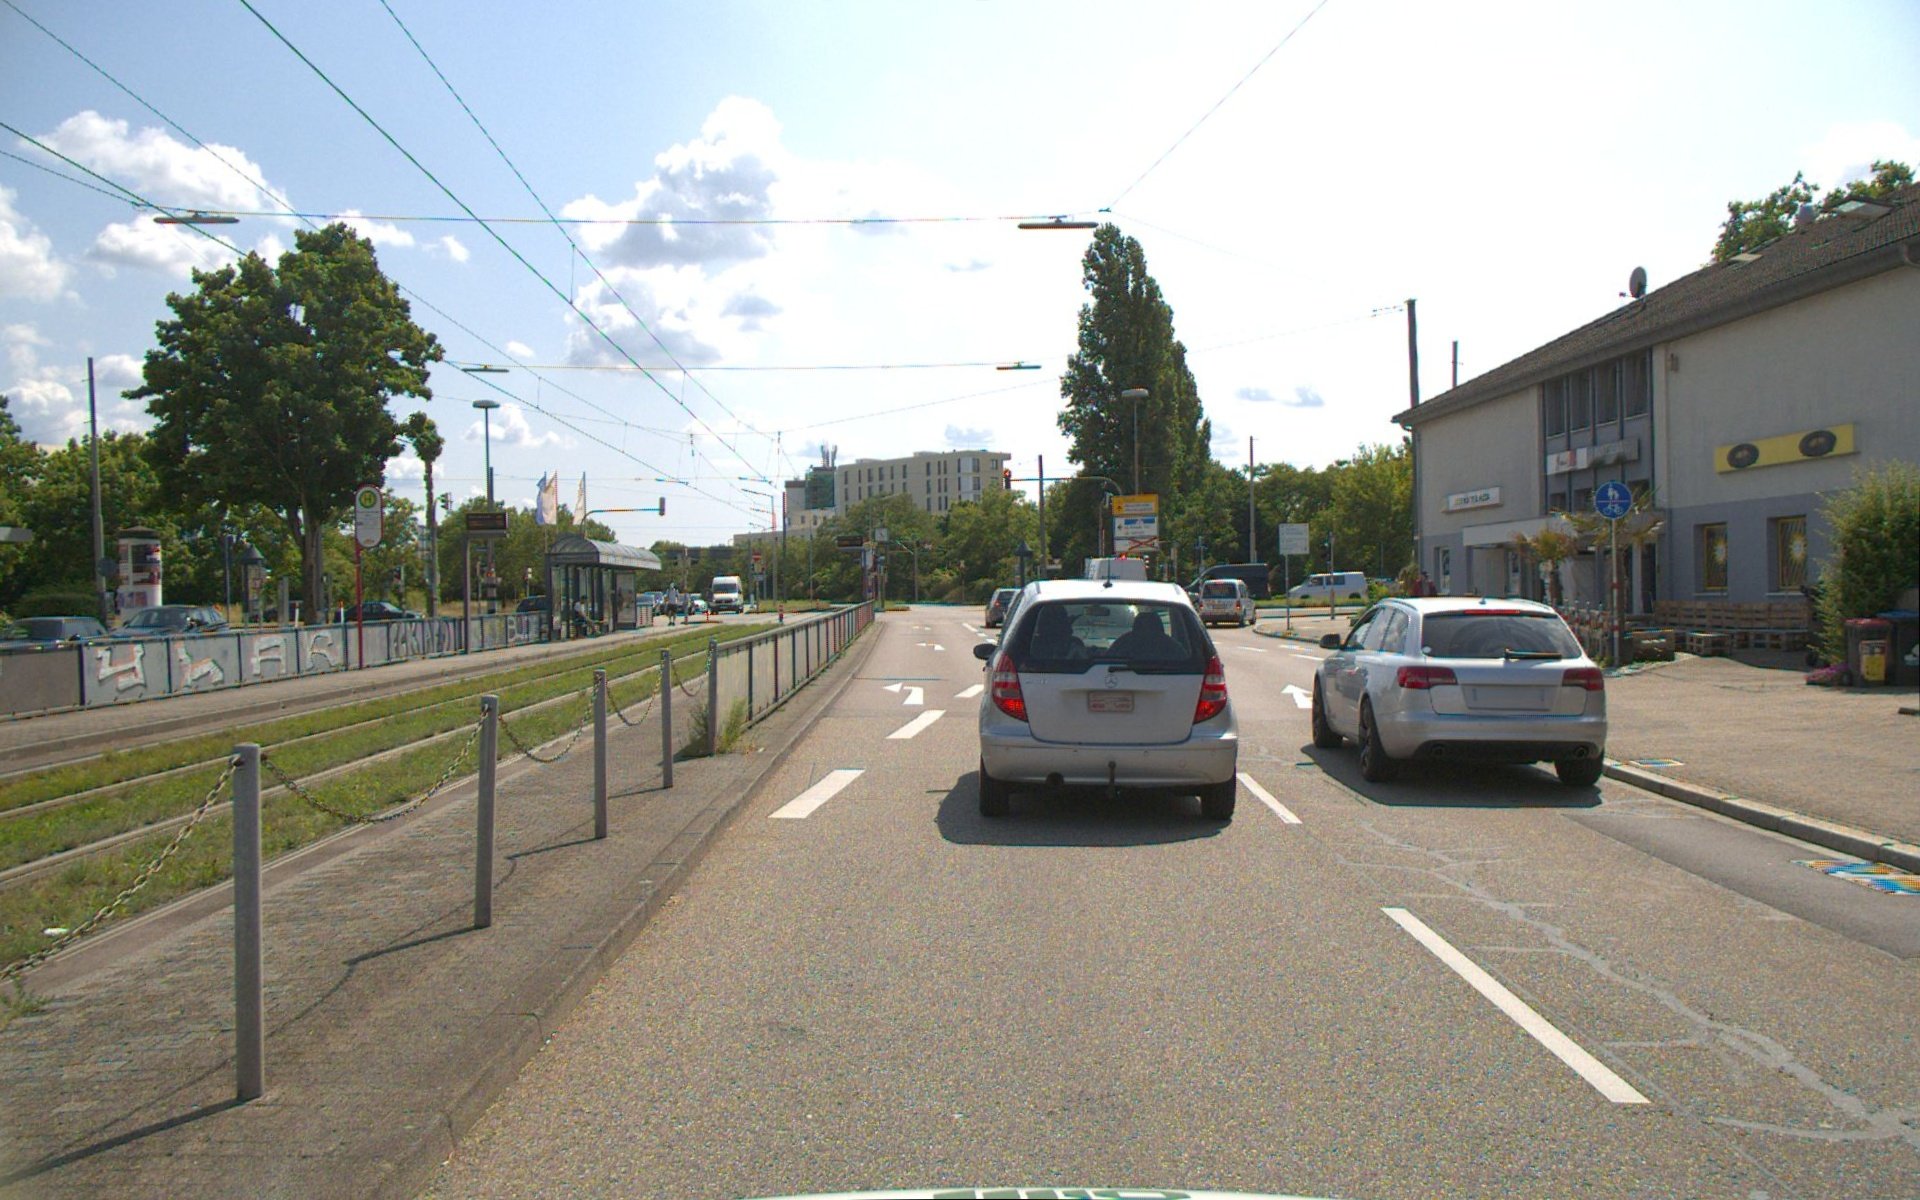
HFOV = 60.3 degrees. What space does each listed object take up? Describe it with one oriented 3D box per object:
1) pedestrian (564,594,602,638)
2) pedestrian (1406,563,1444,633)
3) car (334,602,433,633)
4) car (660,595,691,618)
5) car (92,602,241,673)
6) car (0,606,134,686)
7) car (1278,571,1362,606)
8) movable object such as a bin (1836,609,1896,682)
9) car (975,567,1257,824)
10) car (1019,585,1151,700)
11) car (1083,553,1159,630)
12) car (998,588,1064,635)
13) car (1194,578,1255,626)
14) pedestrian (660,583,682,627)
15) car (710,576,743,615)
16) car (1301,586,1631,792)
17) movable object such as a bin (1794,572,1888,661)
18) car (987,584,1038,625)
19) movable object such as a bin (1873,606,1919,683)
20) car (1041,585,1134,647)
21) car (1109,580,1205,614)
[{"bbox_3d":[-12.035,0.511,52.825,1.037,1.400,0.860,0,0,-2],"label":"pedestrian"},{"bbox_3d":[12.444,-0.065,44.285,0.707,1.813,0.703,-3,0,0],"label":"pedestrian"},{"bbox_3d":[-29.844,0.887,85.696,4.367,1.540,2.000,0,0,1],"label":"car"},{"bbox_3d":[-19.646,0.415,114.391,1.860,1.568,3.725,0,0,-5],"label":"car"},{"bbox_3d":[-20.430,0.911,42.800,2.021,1.642,4.746,-2,1,-7],"label":"car"},{"bbox_3d":[-20.149,0.971,36.573,1.750,1.611,3.931,-1,0,0],"label":"car"},{"bbox_3d":[21.198,-0.693,97.518,4.578,1.970,2.001,-1,0,3],"label":"car"},{"bbox_3d":[11.652,0.583,21.281,0.436,0.910,0.545,-1,0,-6],"label":"movable object such as a bin"},{"bbox_3d":[1.101,0.586,12.464,1.750,1.604,4.096,-1,0,3],"label":"car"},{"bbox_3d":[1.730,0.541,24.165,1.703,1.518,4.631,0,0,2],"label":"car"},{"bbox_3d":[5.670,-0.310,58.919,2.000,2.602,5.229,-1,0,-2],"label":"car"},{"bbox_3d":[2.250,0.349,53.551,1.832,1.444,4.098,0,0,-2],"label":"car"},{"bbox_3d":[10.308,0.077,64.306,1.845,1.761,4.097,-2,-1,16],"label":"car"},{"bbox_3d":[-12.028,0.201,68.841,0.791,1.826,0.708,-1,0,-4],"label":"pedestrian"},{"bbox_3d":[-16.244,-0.298,115.261,1.954,2.651,4.875,0,0,-4],"label":"car"},{"bbox_3d":[4.221,0.646,14.554,1.815,1.518,4.538,0,0,4],"label":"car"},{"bbox_3d":[14.215,0.257,26.709,1.060,1.355,0.887,-1,2,0],"label":"movable object such as a bin"},{"bbox_3d":[2.015,0.165,64.260,1.709,1.525,4.378,0,0,-2],"label":"car"},{"bbox_3d":[12.145,0.565,21.297,0.432,0.951,0.549,-1,0,-6],"label":"movable object such as a bin"},{"bbox_3d":[3.159,0.355,41.958,1.849,1.473,4.826,0,0,-2],"label":"car"},{"bbox_3d":[10.183,-0.157,85.838,4.762,1.689,2.000,0,0,1],"label":"car"}]
